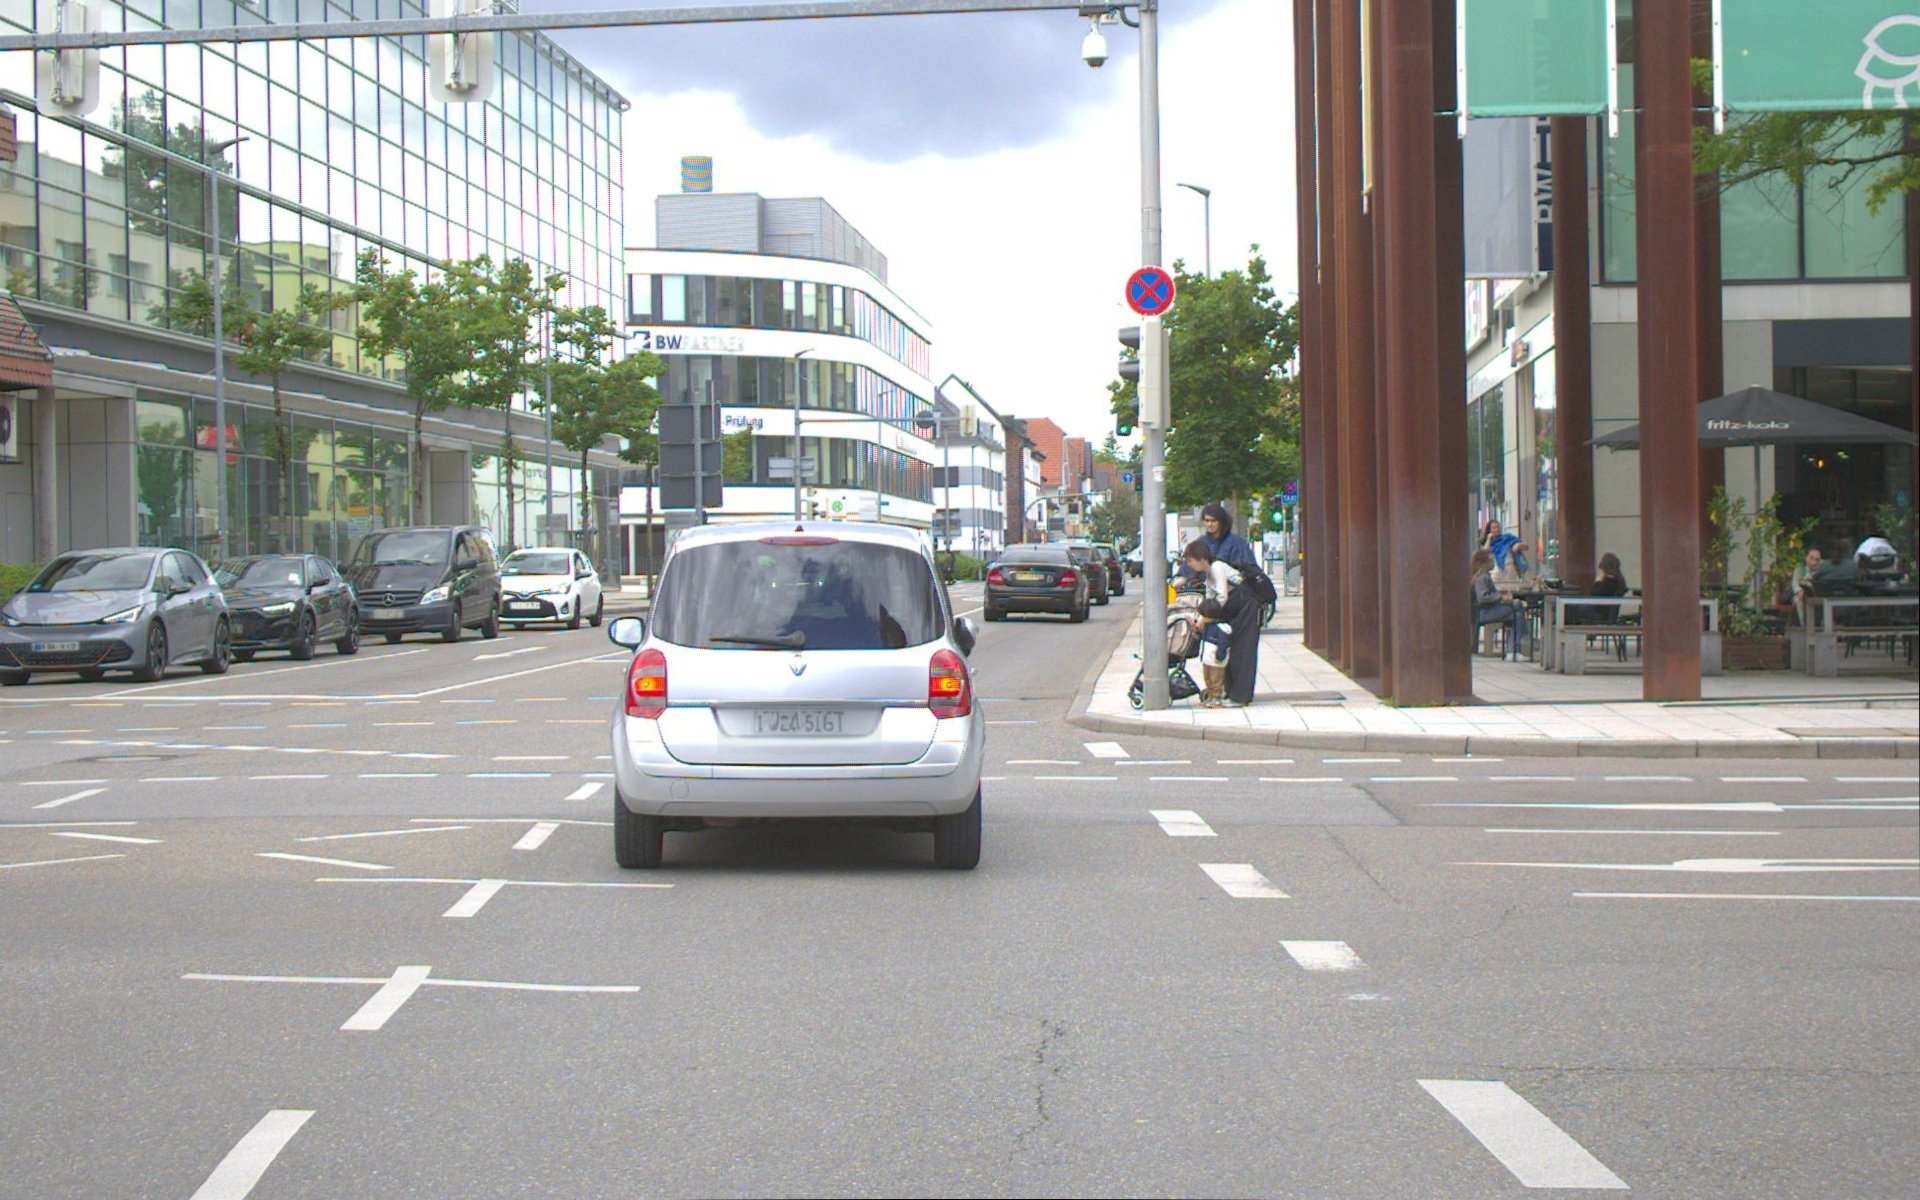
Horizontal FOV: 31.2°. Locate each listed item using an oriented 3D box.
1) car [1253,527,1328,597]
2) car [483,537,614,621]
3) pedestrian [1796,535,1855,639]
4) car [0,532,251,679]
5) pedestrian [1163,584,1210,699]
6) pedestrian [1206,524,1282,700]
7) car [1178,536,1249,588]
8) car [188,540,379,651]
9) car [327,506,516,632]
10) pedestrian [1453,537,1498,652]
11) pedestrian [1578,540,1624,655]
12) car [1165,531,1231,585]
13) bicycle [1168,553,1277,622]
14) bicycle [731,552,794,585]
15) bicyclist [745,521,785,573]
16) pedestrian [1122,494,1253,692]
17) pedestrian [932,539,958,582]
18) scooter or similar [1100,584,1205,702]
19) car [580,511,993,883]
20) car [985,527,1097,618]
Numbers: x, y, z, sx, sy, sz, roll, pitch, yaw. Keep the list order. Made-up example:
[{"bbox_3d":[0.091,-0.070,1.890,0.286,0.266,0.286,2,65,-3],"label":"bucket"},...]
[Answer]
[{"bbox_3d":[8.383,-0.998,87.478,1.740,1.695,4.380,1,1,4],"label":"car"},{"bbox_3d":[-7.600,-0.413,63.836,1.660,1.460,4.000,-1,1,4],"label":"car"},{"bbox_3d":[10.256,-0.160,40.742,0.515,1.204,0.795,0,2,2],"label":"pedestrian"},{"bbox_3d":[-9.692,0.022,39.801,1.759,1.512,4.386,-2,2,4],"label":"car"},{"bbox_3d":[1.855,0.338,28.167,0.362,0.921,0.454,0,1,6],"label":"pedestrian"},{"bbox_3d":[2.325,0.093,28.087,0.601,1.415,0.582,0,1,6],"label":"pedestrian"},{"bbox_3d":[6.979,-1.062,94.689,1.877,1.330,4.000,2,1,4],"label":"car"},{"bbox_3d":[-9.170,-0.091,46.908,1.702,1.438,4.000,0,1,2],"label":"car"},{"bbox_3d":[-8.670,-0.535,55.809,1.865,1.903,5.113,-1,1,4],"label":"car"},{"bbox_3d":[5.528,-0.066,36.903,0.448,1.216,0.606,0,1,6],"label":"pedestrian"},{"bbox_3d":[6.846,-0.034,36.734,0.448,1.216,0.606,0,1,8],"label":"pedestrian"},{"bbox_3d":[7.012,-1.261,101.159,1.877,1.503,4.000,2,1,4],"label":"car"},{"bbox_3d":[3.861,-0.181,50.526,1.561,0.989,0.752,-1,1,7],"label":"bicycle"},{"bbox_3d":[-6.379,-1.019,110.677,1.006,1.015,3.131,1,1,-23],"label":"bicycle"},{"bbox_3d":[-6.272,-1.707,110.461,1.006,1.655,0.933,1,1,-23],"label":"bicyclist"},{"bbox_3d":[1.928,-0.071,29.146,0.872,1.641,0.679,1,2,38],"label":"pedestrian"},{"bbox_3d":[-0.647,-1.723,148.293,0.961,1.827,1.250,-1,1,4],"label":"pedestrian"},{"bbox_3d":[1.601,0.350,28.586,0.634,0.958,0.619,0,1,37],"label":"scooter or similar"},{"bbox_3d":[-0.726,0.375,16.529,1.670,1.549,3.642,1,1,2],"label":"car"},{"bbox_3d":[1.486,-0.520,61.896,1.670,1.549,3.641,2,1,6],"label":"car"}]
